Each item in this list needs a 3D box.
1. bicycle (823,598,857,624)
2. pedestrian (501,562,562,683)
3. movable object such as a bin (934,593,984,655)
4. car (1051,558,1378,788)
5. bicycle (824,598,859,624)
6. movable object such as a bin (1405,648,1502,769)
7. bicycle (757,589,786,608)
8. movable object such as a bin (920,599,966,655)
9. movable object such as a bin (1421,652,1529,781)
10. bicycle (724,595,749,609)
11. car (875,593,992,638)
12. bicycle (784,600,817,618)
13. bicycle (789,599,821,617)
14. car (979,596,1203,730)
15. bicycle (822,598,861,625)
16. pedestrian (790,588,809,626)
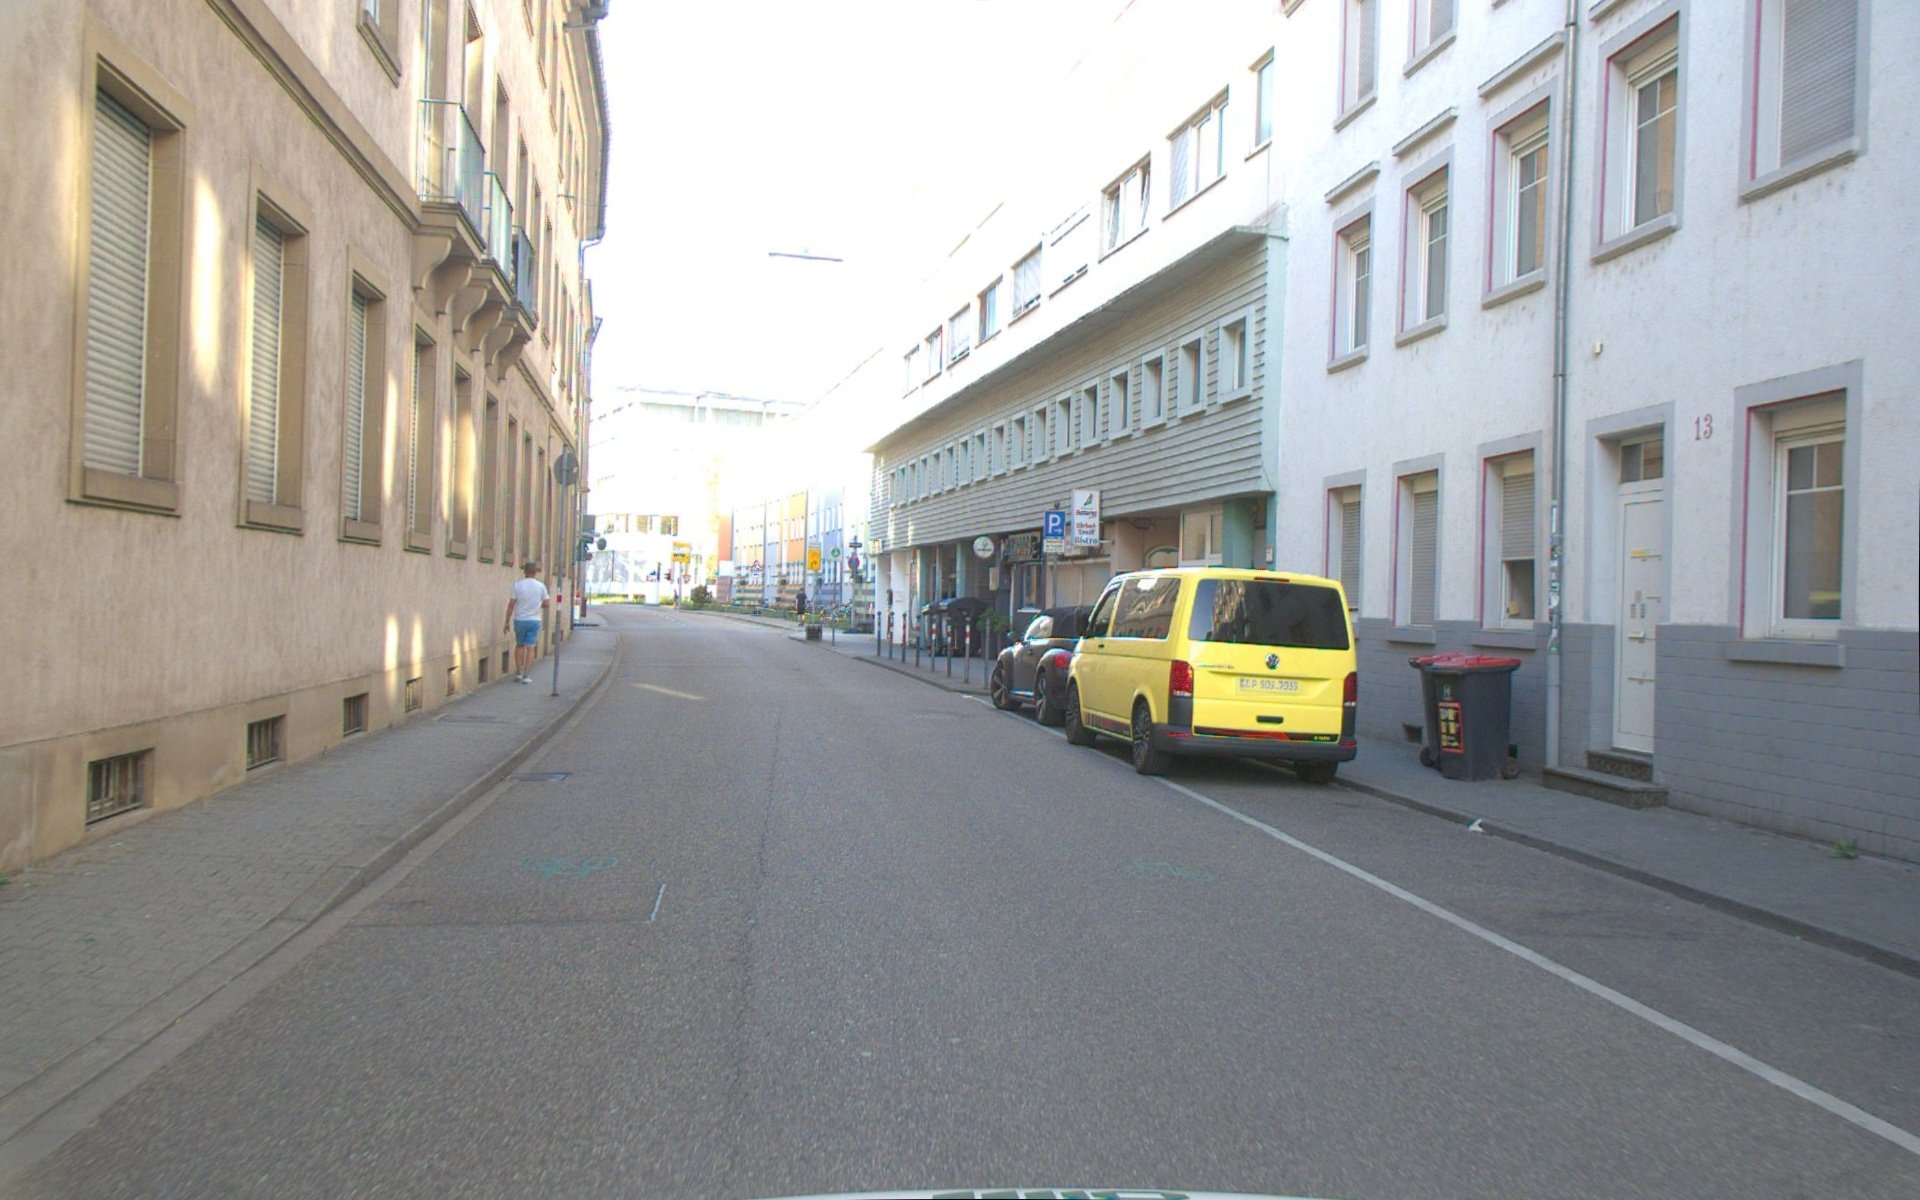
[{"bbox_3d":[-5.654,0.507,77.894,1.580,1.161,0.236,-2,1,-22],"label":"bicycle"},{"bbox_3d":[-6.261,0.325,24.186,0.680,1.699,0.873,4,-1,-9],"label":"pedestrian"},{"bbox_3d":[-0.028,0.604,40.827,0.963,1.506,1.547,0,-2,-11],"label":"movable object such as a bin"},{"bbox_3d":[2.354,0.623,16.720,1.848,1.914,4.836,3,0,-9],"label":"car"},{"bbox_3d":[-5.541,0.507,77.645,1.618,1.161,0.281,-2,1,-22],"label":"bicycle"},{"bbox_3d":[4.697,1.020,15.783,0.595,1.069,0.707,-3,1,-10],"label":"movable object such as a bin"},{"bbox_3d":[-12.092,-0.084,106.125,1.780,1.157,0.549,1,-1,-16],"label":"bicycle"},{"bbox_3d":[-0.439,0.701,42.346,0.963,1.409,1.317,0,-2,-11],"label":"movable object such as a bin"},{"bbox_3d":[4.651,1.038,14.969,0.615,1.069,0.706,-3,1,-13],"label":"movable object such as a bin"},{"bbox_3d":[-16.165,0.155,119.769,1.727,1.021,0.610,0,0,-19],"label":"bicycle"},{"bbox_3d":[-0.990,0.569,60.911,4.009,1.508,1.859,2,0,-14],"label":"car"},{"bbox_3d":[-8.672,0.492,89.724,1.718,0.963,0.550,1,-1,-14],"label":"bicycle"},{"bbox_3d":[-8.586,0.430,91.615,1.718,0.963,0.324,1,-1,-13],"label":"bicycle"},{"bbox_3d":[1.612,0.763,22.057,1.849,1.515,4.357,3,0,-11],"label":"car"},{"bbox_3d":[-5.448,0.522,76.218,1.719,1.161,0.550,-2,1,-14],"label":"bicycle"},{"bbox_3d":[-7.495,0.319,77.177,0.685,1.791,1.185,-1,0,-13],"label":"pedestrian"}]
